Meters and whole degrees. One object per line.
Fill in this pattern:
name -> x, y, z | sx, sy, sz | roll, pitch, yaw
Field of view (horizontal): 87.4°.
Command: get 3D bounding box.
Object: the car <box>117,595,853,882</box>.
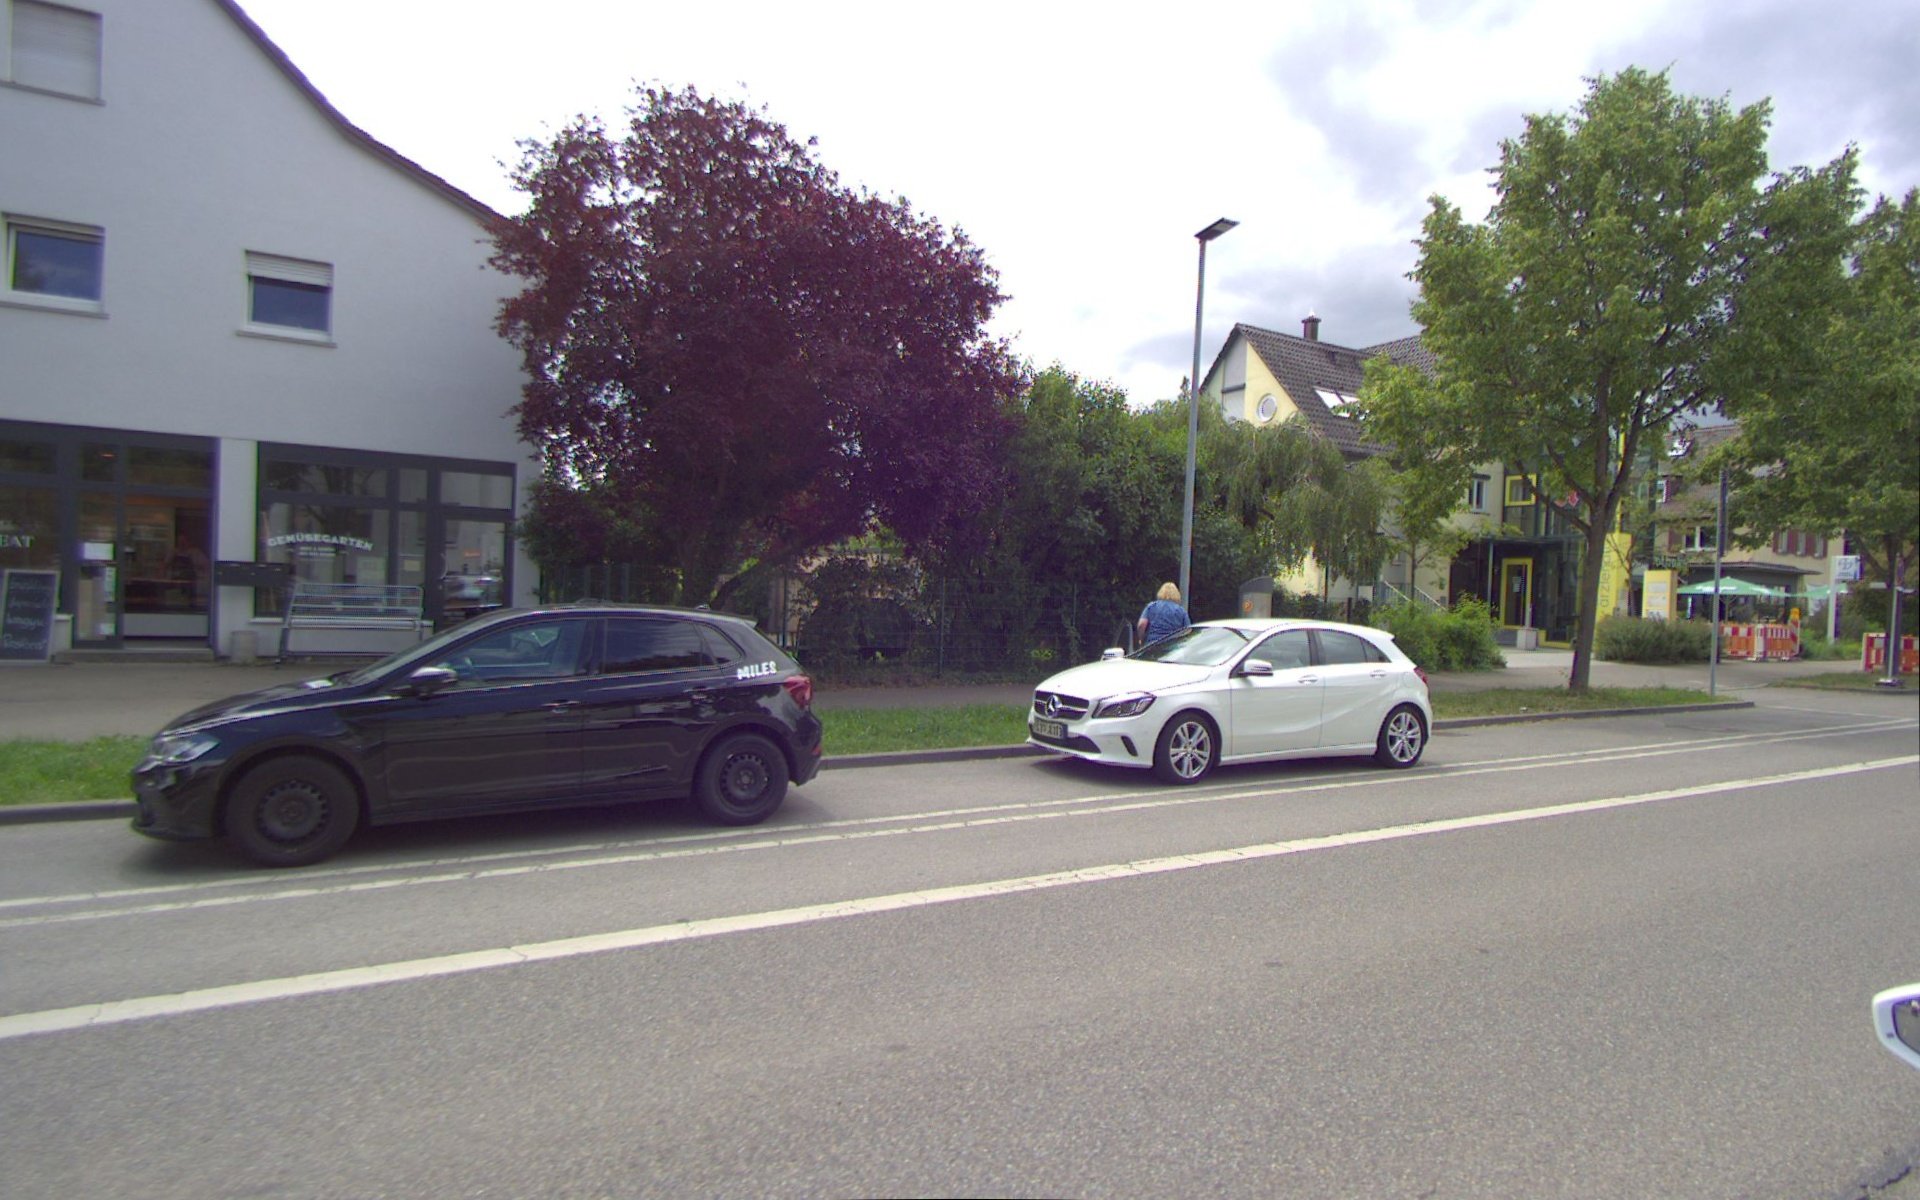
car -> -2.876, 0.739, 6.735 | 3.972, 1.439, 1.635 | 1, -1, -29

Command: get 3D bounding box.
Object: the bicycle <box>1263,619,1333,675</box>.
bicycle -> 6.656, 0.914, 19.739 | 1.566, 1.062, 0.459 | 1, 1, -36

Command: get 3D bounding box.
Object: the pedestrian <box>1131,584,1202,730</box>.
pedestrian -> 2.298, 0.612, 11.149 | 0.572, 1.549, 0.698 | 1, 0, 26

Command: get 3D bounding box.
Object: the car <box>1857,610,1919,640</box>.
car -> 59.777, 1.592, 63.669 | 1.724, 1.793, 3.971 | 2, 0, -28

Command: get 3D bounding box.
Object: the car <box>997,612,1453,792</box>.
car -> 2.632, 0.878, 9.805 | 4.244, 1.425, 1.708 | 1, 0, -27
